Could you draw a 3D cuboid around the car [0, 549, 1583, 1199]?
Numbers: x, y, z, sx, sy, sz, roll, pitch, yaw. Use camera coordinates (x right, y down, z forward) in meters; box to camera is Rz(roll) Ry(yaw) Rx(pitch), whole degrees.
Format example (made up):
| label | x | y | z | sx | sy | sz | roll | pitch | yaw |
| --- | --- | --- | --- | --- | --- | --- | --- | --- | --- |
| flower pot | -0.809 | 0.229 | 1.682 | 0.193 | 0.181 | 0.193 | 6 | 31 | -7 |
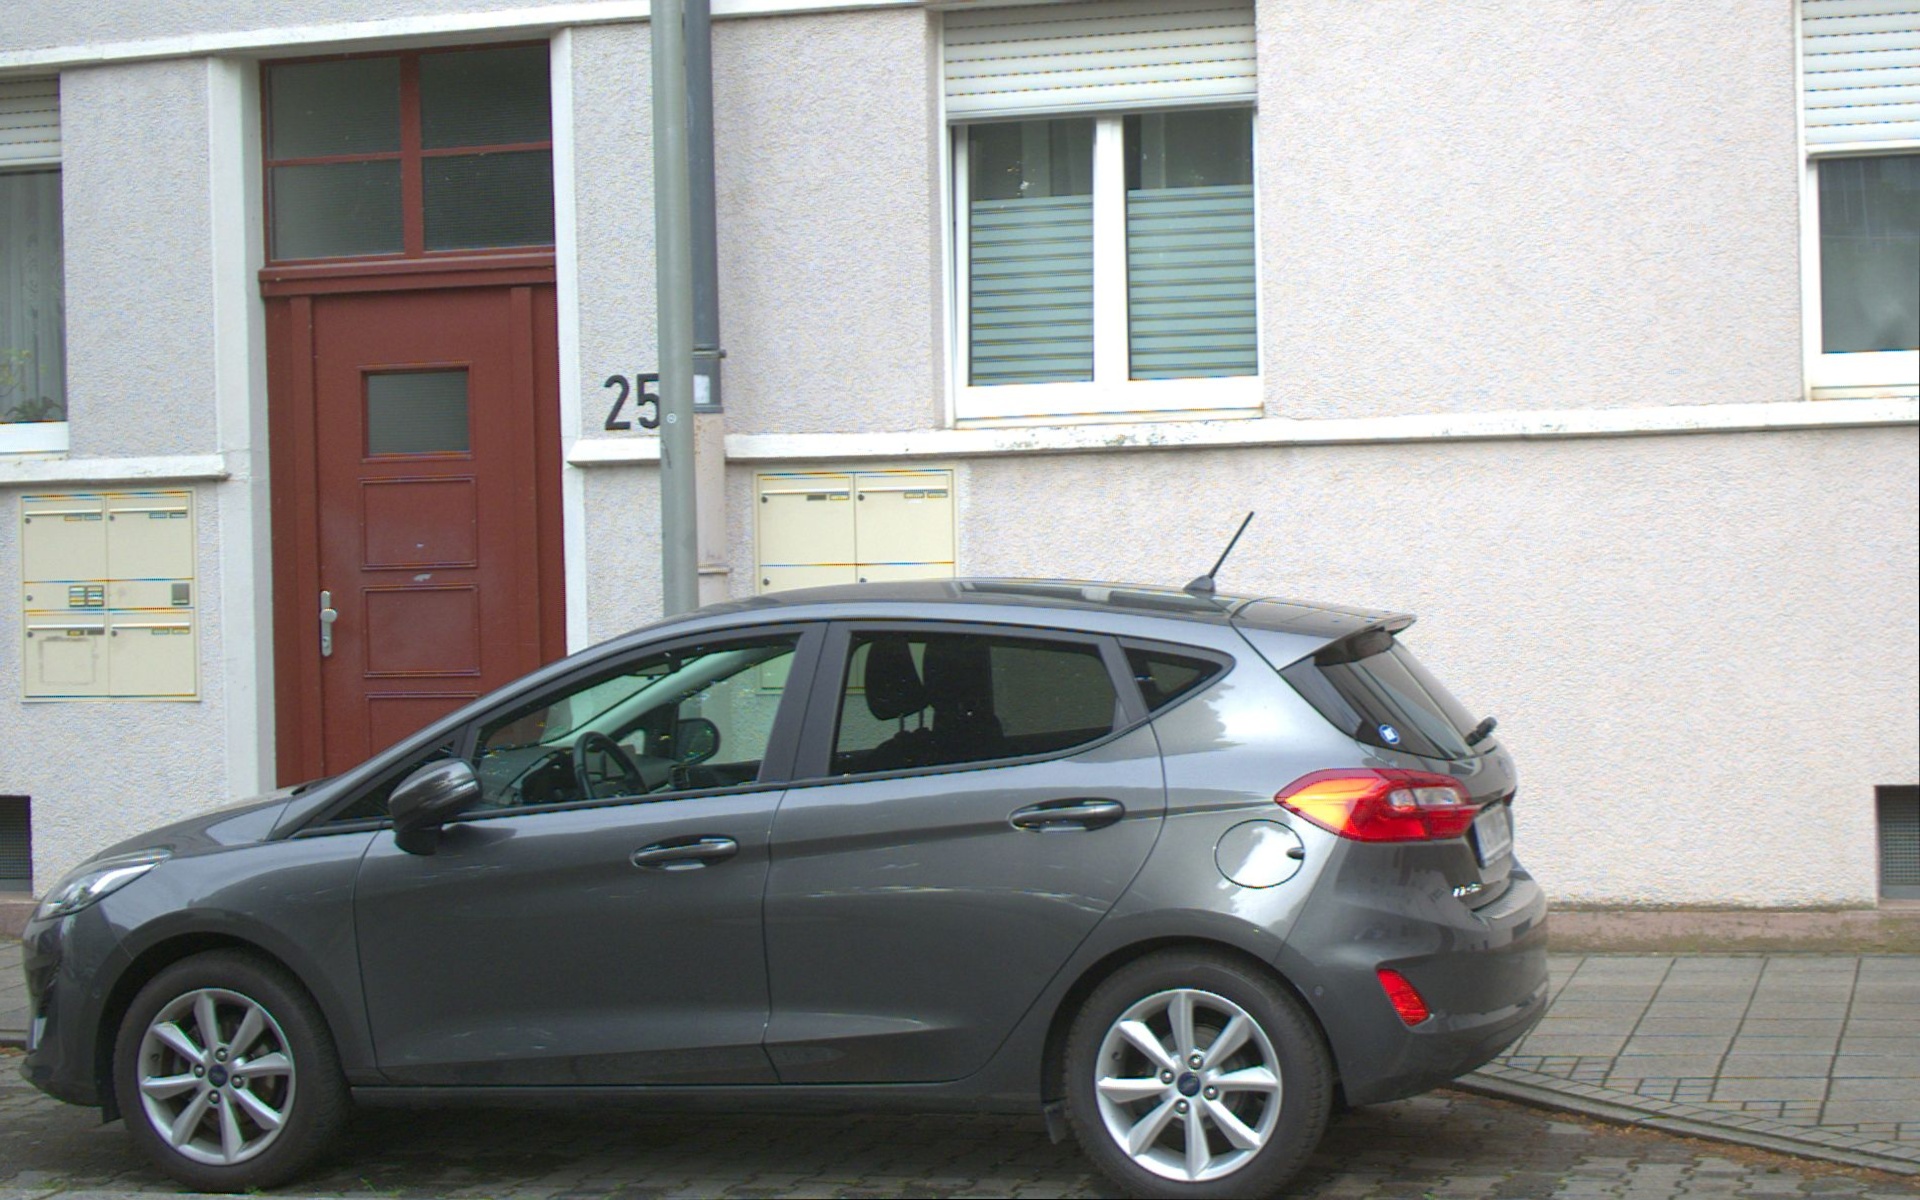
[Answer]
| label | x | y | z | sx | sy | sz | roll | pitch | yaw |
| --- | --- | --- | --- | --- | --- | --- | --- | --- | --- |
| car | -0.529 | 0.677 | 8.962 | 4.068 | 1.520 | 1.761 | -1 | 2 | 16 |
